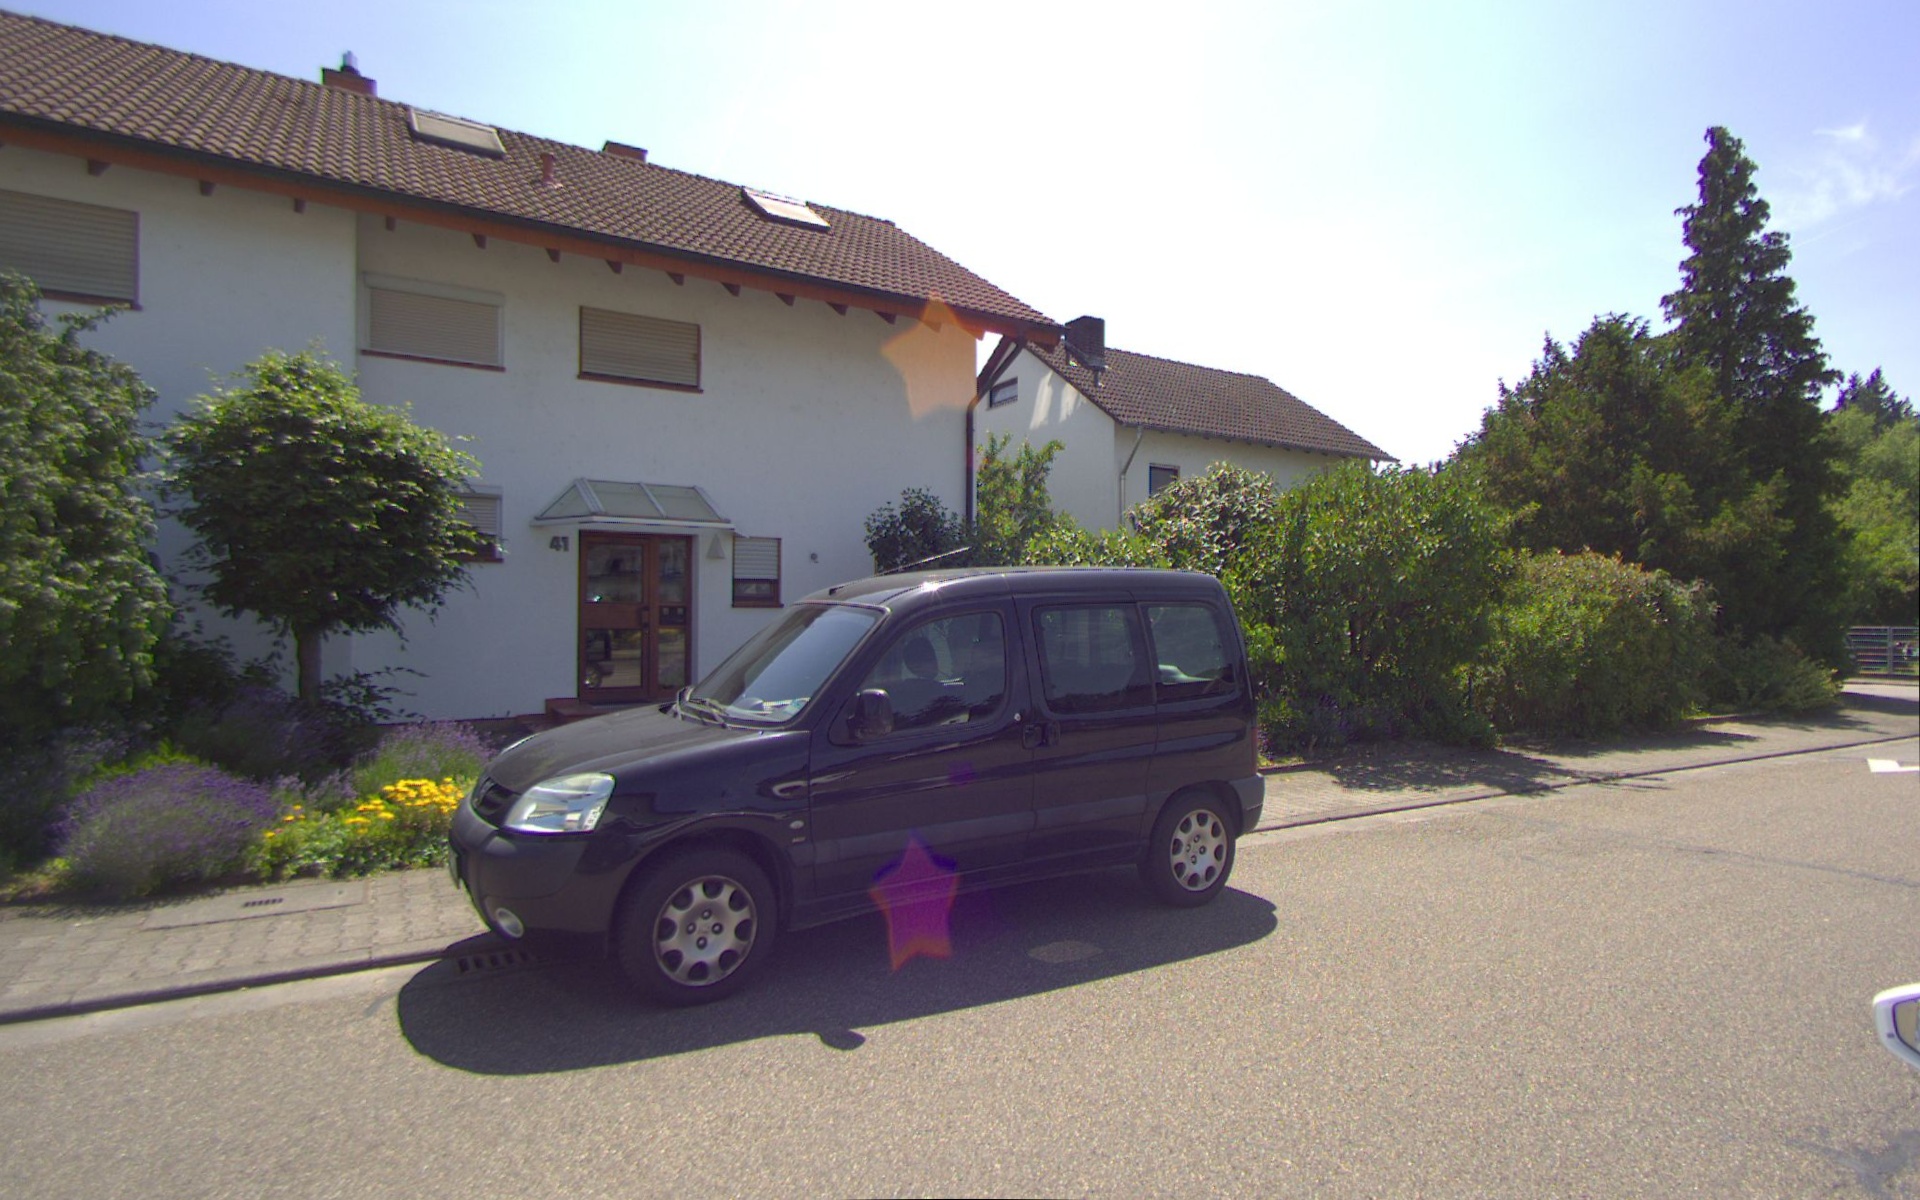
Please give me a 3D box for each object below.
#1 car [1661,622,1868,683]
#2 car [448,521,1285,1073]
[{"bbox_3d":[24.729,1.549,31.075,1.946,1.684,4.646,1,-1,-30],"label":"car"},{"bbox_3d":[-0.335,0.712,5.221,4.010,1.870,1.709,1,-1,-32],"label":"car"}]
